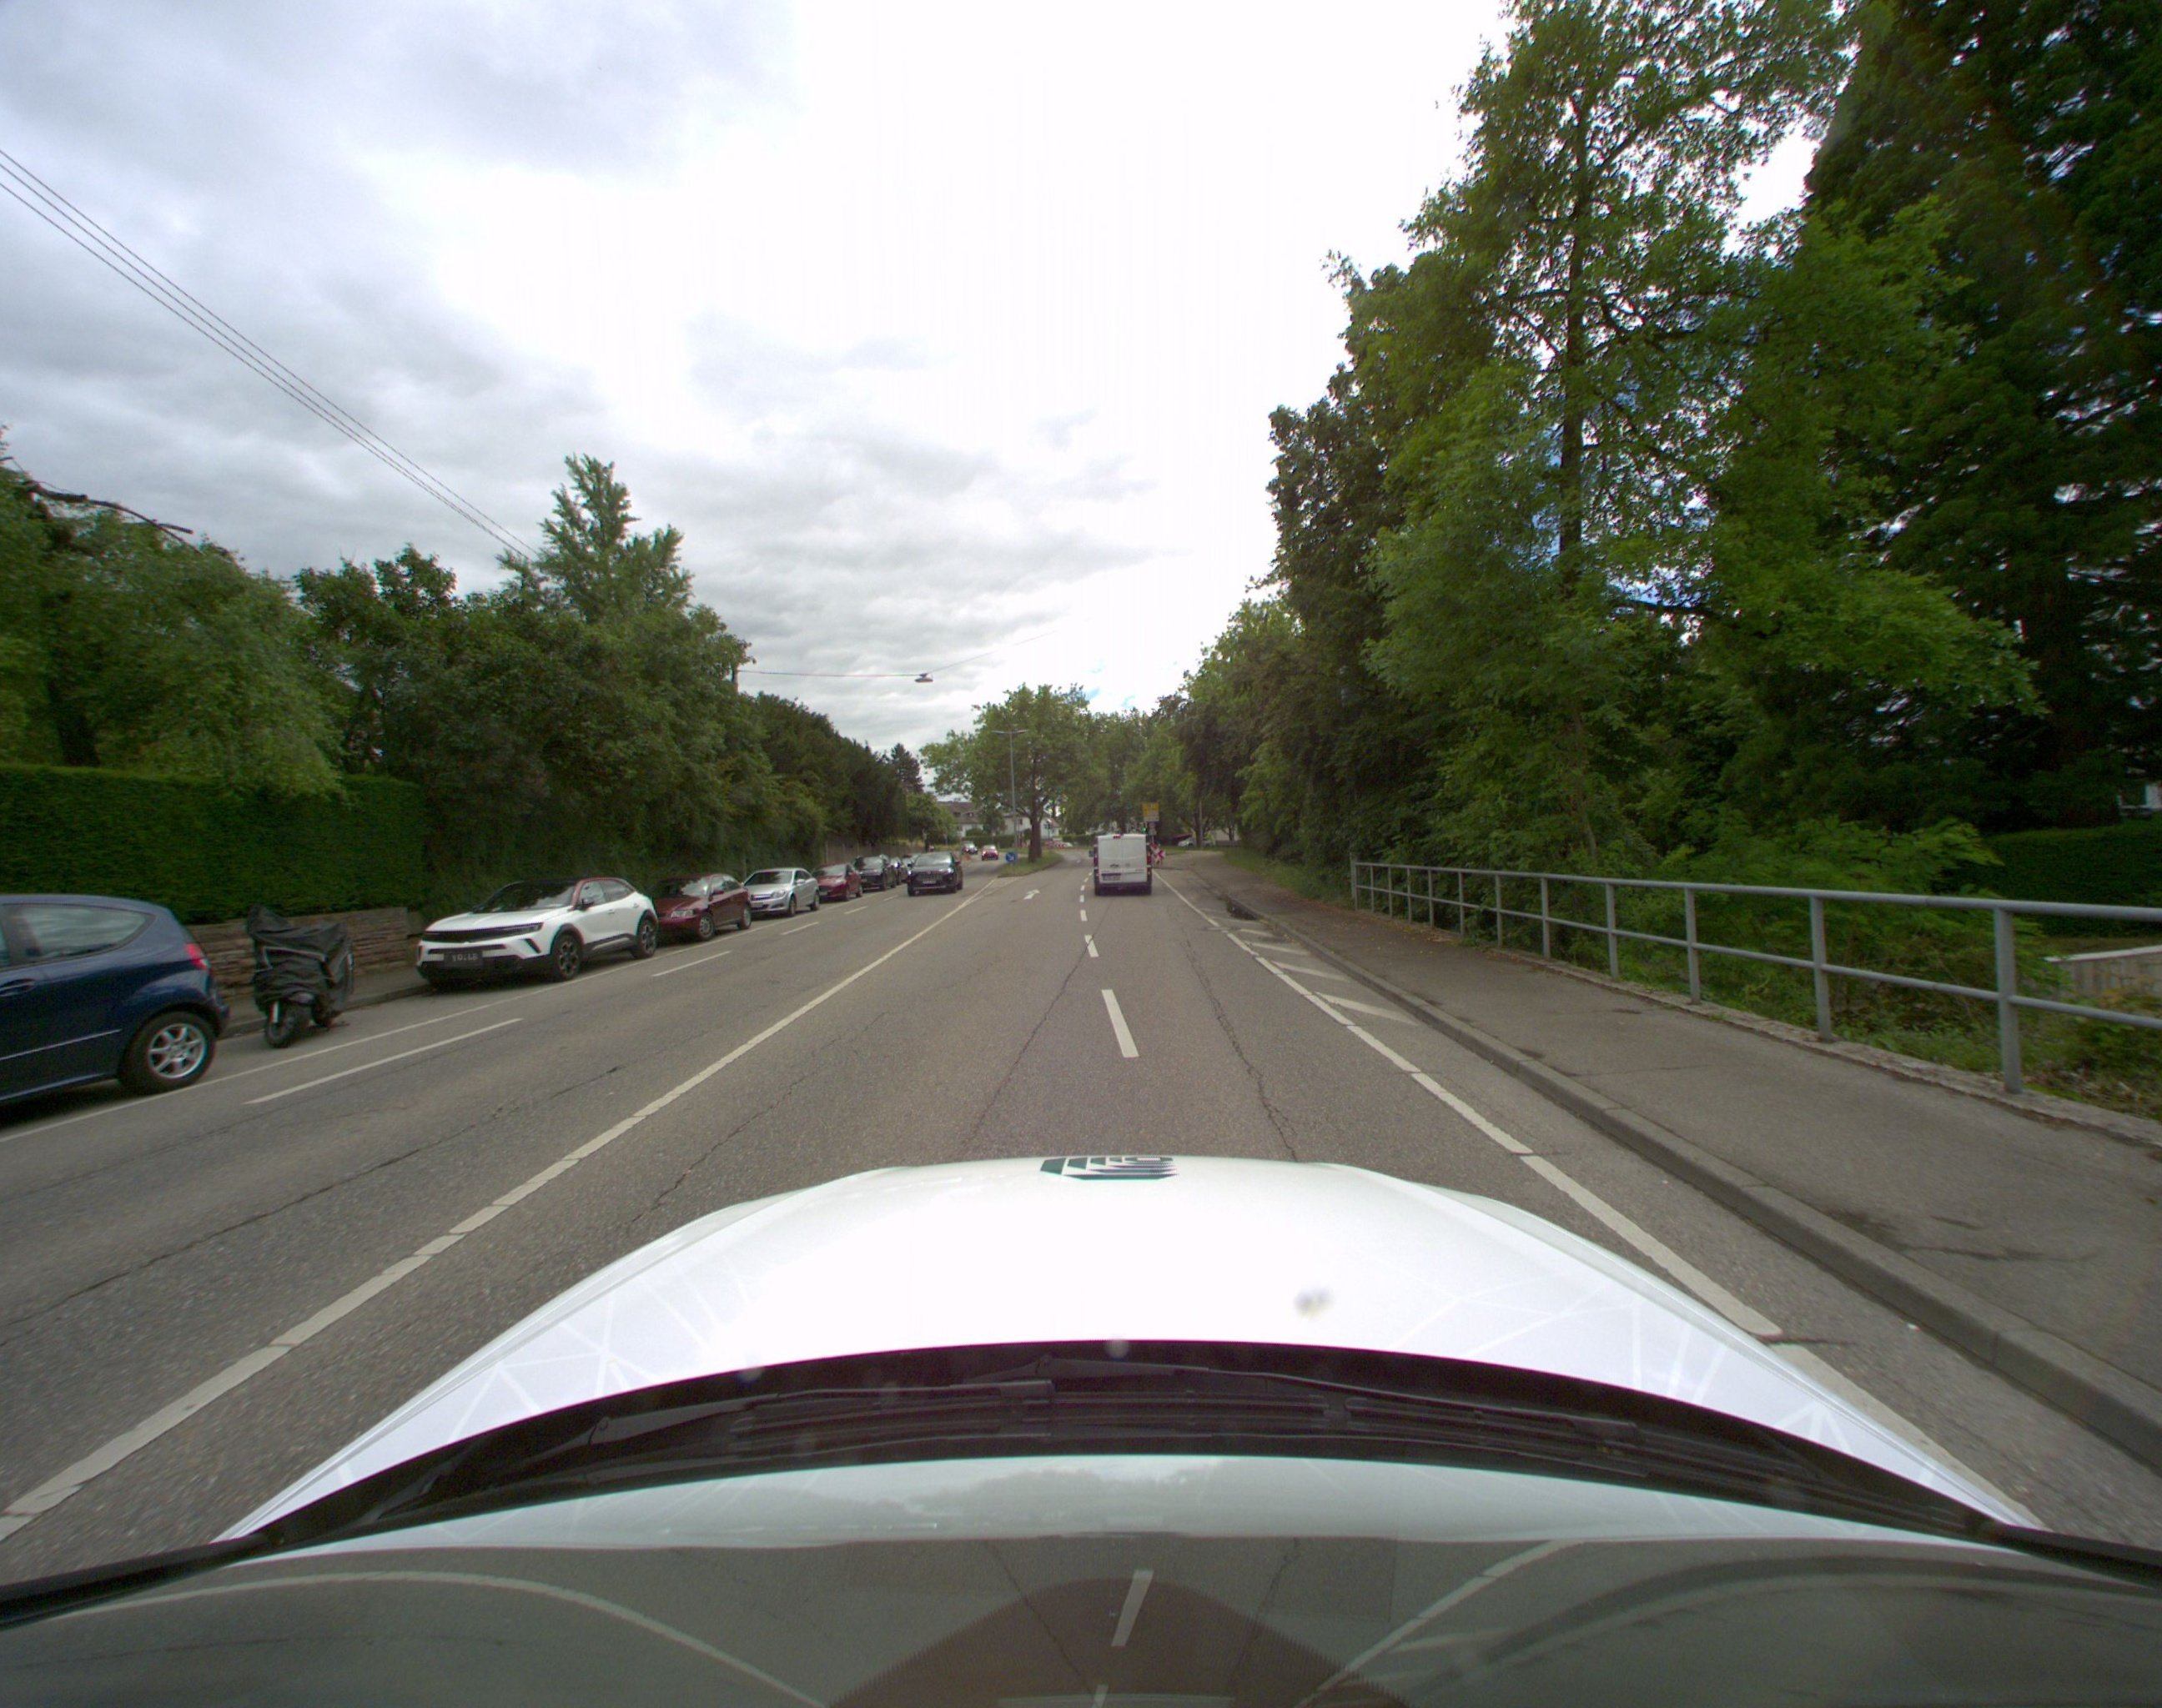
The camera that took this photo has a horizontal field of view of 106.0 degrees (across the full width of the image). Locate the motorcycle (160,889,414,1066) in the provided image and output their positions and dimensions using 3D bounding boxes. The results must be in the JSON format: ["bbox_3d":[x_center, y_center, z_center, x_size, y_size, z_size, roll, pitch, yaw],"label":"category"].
[{"bbox_3d":[-7.979,1.142,8.385,0.889,1.355,2.291,-5,2,-20],"label":"motorcycle"}]

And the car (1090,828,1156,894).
[{"bbox_3d":[1.336,0.200,27.844,1.999,2.038,5.010,0,0,0],"label":"car"}]

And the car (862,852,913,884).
[{"bbox_3d":[-10.539,0.730,44.696,1.943,1.511,4.098,-4,0,-4],"label":"car"}]

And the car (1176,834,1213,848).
[{"bbox_3d":[15.123,-1.713,108.669,4.763,1.769,1.979,-3,1,-33],"label":"car"}]

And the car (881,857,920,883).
[{"bbox_3d":[-10.949,0.961,49.701,1.645,1.401,4.215,-3,0,-4],"label":"car"}]

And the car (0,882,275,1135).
[{"bbox_3d":[-7.746,1.067,5.022,1.675,1.556,3.965,-4,0,-4],"label":"car"}]

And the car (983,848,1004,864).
[{"bbox_3d":[-9.429,0.182,88.329,1.994,1.587,3.992,-3,0,-4],"label":"car"}]

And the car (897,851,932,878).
[{"bbox_3d":[-11.142,0.646,54.725,1.669,1.592,4.091,-4,1,-4],"label":"car"}]

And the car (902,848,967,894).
[{"bbox_3d":[-5.834,0.644,32.937,1.837,1.647,4.211,-3,0,-1],"label":"car"}]

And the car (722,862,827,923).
[{"bbox_3d":[-9.117,1.079,24.621,1.666,1.488,4.425,-4,0,-4],"label":"car"}]

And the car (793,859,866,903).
[{"bbox_3d":[-9.595,1.001,31.401,1.776,1.438,3.993,-3,0,-5],"label":"car"}]

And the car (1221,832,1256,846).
[{"bbox_3d":[21.981,-2.059,113.441,4.763,1.769,1.979,-3,1,-33],"label":"car"}]

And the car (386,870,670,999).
[{"bbox_3d":[-8.400,1.106,12.909,1.886,1.494,4.020,-4,0,-5],"label":"car"}]

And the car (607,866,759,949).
[{"bbox_3d":[-8.758,1.106,18.315,1.667,1.478,3.904,-4,0,-5],"label":"car"}]

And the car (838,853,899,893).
[{"bbox_3d":[-9.926,0.830,38.368,1.990,1.643,4.458,-3,0,-5],"label":"car"}]
